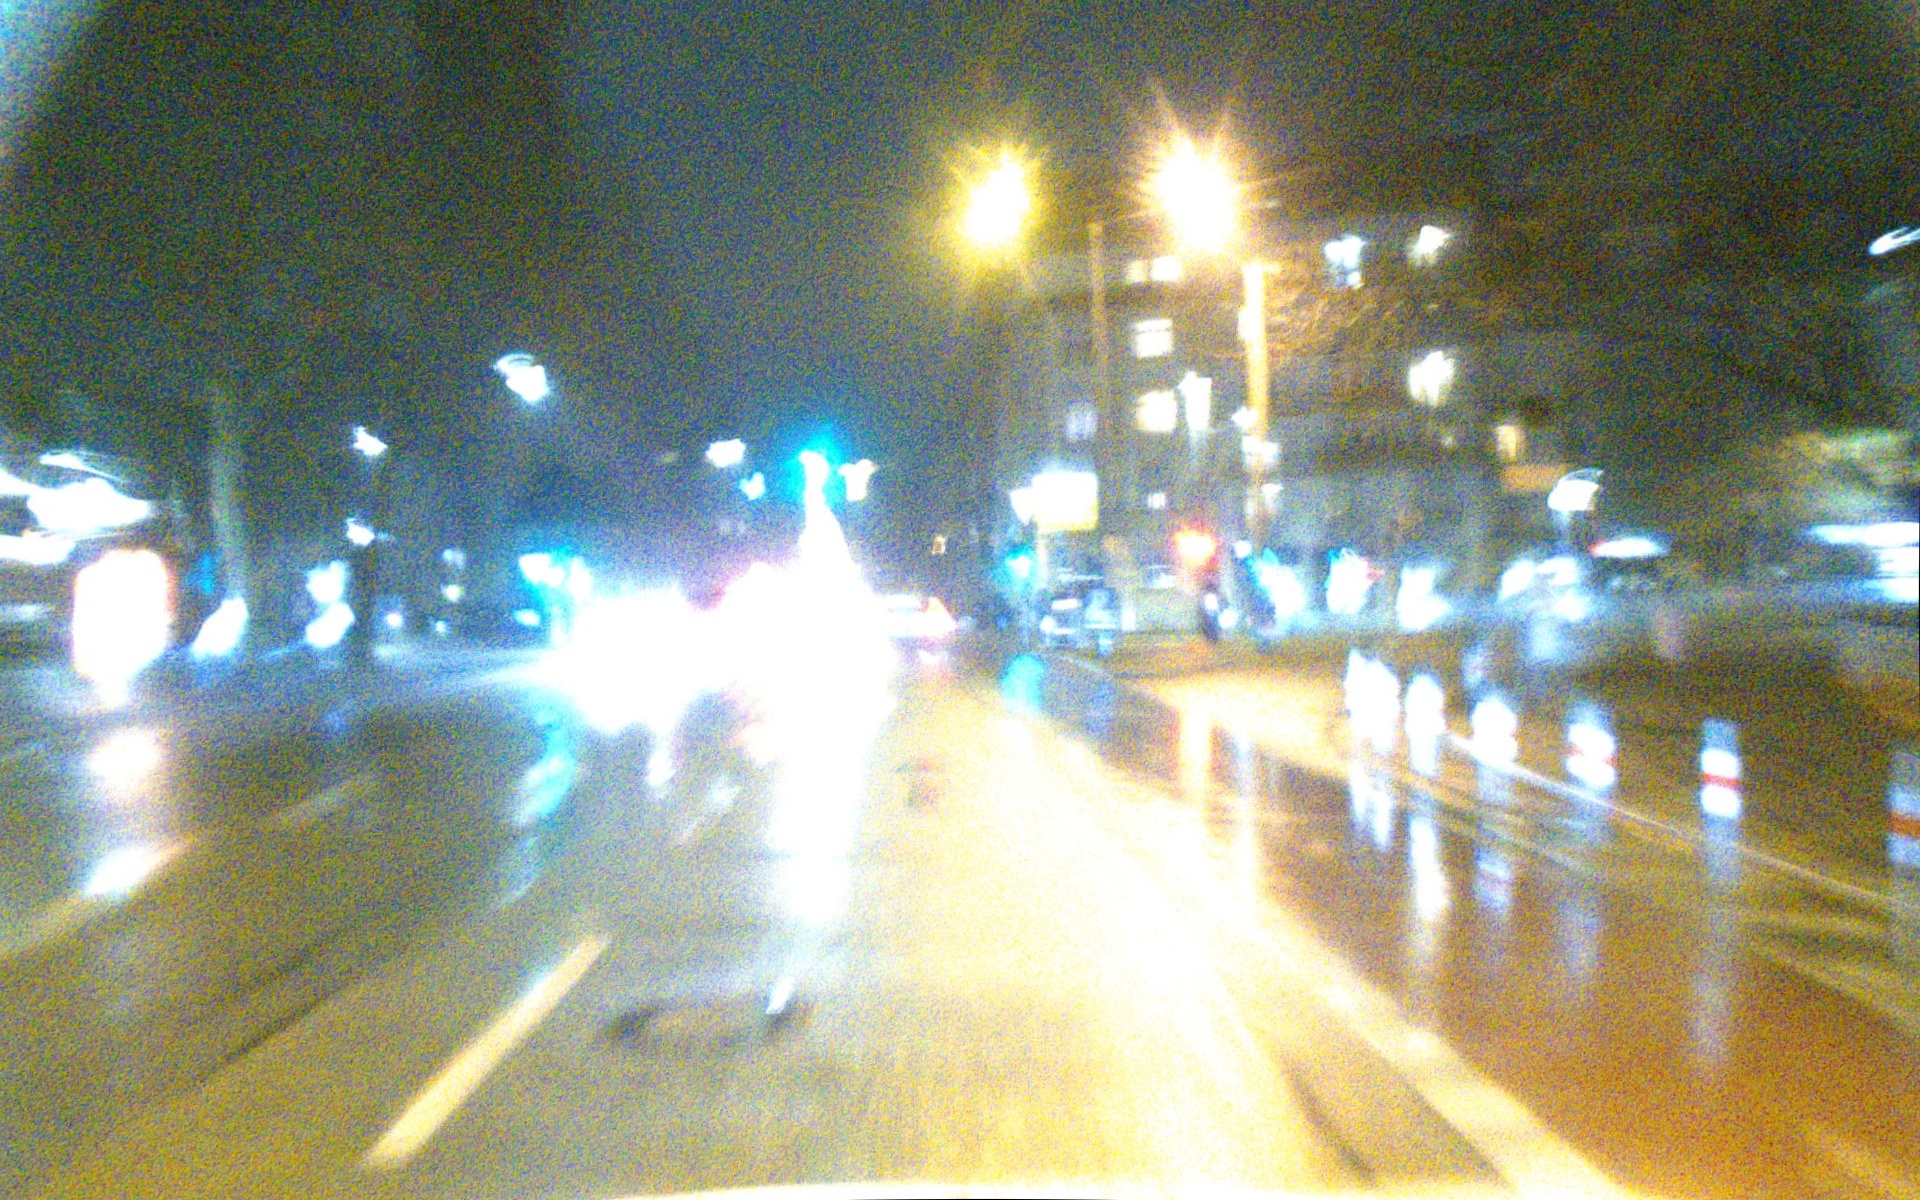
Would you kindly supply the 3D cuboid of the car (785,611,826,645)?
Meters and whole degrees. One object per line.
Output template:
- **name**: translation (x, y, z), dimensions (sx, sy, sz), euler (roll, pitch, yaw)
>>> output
- **car**: translation (-7.400, 1.365, 79.063), dimensions (1.675, 1.569, 3.980), euler (0, -1, -9)

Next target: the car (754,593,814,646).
- **car**: translation (-5.492, 0.618, 51.739), dimensions (1.783, 1.569, 4.719), euler (0, -1, -6)

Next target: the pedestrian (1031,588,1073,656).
- **pedestrian**: translation (2.523, 0.611, 45.649), dimensions (1.085, 1.858, 0.851), euler (-1, -1, 0)

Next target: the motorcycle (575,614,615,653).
- **motorcycle**: translation (-11.199, 1.014, 50.819), dimensions (0.686, 1.158, 2.176), euler (-1, 0, 1)

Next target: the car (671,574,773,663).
- **car**: translation (-5.827, 0.434, 41.010), dimensions (1.994, 1.987, 5.196), euler (-3, 0, -4)

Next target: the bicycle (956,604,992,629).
- **bicycle**: translation (0.791, 0.924, 93.027), dimensions (1.862, 1.273, 0.709), euler (-2, -2, -10)

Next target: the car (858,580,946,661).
- **car**: translation (-1.612, 0.553, 44.128), dimensions (2.126, 2.006, 4.297), euler (-1, -1, -5)

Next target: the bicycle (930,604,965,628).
- **bicycle**: translation (-0.713, 0.933, 94.302), dimensions (1.862, 1.273, 0.594), euler (-2, -2, -10)

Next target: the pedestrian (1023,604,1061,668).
- **pedestrian**: translation (2.438, 1.066, 49.126), dimensions (1.084, 1.858, 0.851), euler (-1, -1, 2)

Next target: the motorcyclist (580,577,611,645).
- **motorcyclist**: translation (-11.198, 0.329, 50.834), dimensions (0.678, 2.049, 0.983), euler (-1, -1, 1)

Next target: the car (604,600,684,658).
- **car**: translation (-8.856, 0.772, 46.703), dimensions (1.817, 1.526, 4.763), euler (-1, 0, -6)

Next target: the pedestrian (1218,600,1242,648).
- **pedestrian**: translation (11.869, 1.056, 72.686), dimensions (0.953, 2.048, 1.016), euler (-2, 2, 6)

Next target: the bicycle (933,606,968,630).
- **bicycle**: translation (-0.563, 1.040, 93.615), dimensions (1.862, 1.273, 0.594), euler (-2, -2, -10)
